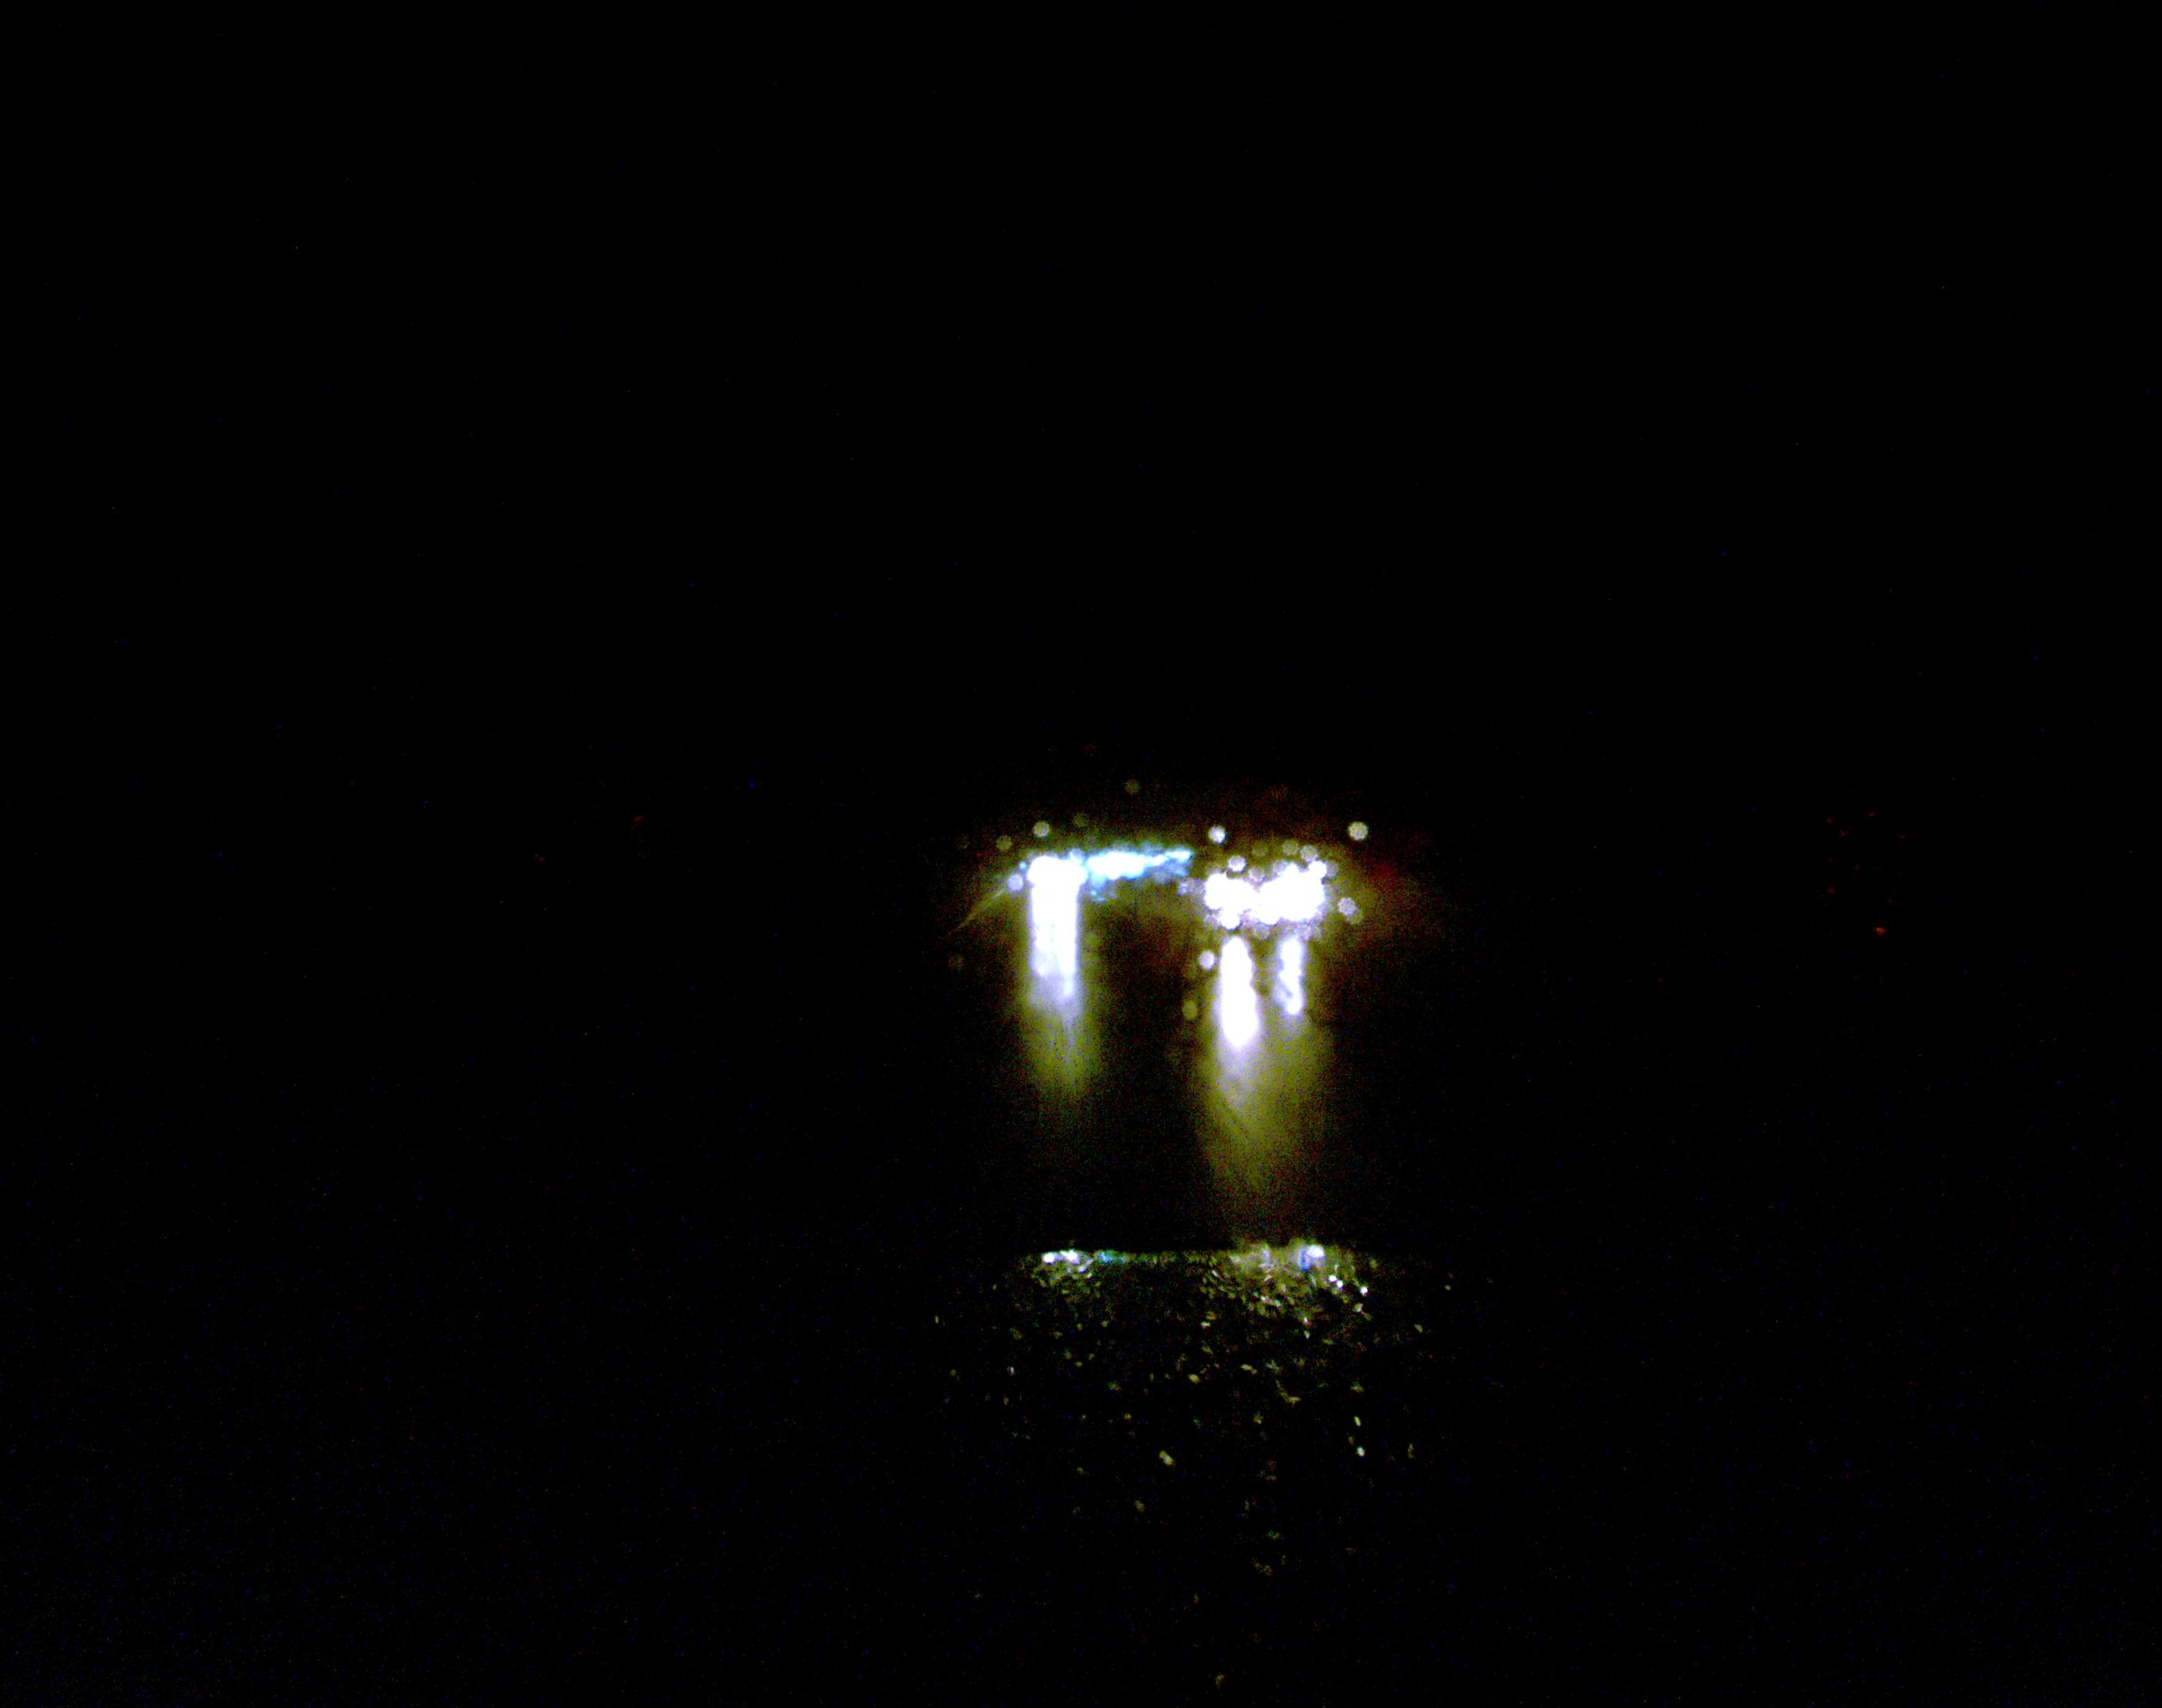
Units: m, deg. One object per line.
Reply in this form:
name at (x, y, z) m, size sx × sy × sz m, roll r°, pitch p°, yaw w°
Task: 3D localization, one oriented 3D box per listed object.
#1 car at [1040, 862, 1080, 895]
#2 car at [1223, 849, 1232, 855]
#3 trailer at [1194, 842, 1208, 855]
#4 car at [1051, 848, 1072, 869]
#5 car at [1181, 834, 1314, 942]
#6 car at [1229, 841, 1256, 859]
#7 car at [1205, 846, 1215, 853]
car at (-1.098, 1.319, 41.699) m, size 1.892 × 1.603 × 4.000 m, roll 0°, pitch 1°, yaw 3°
car at (39.568, -0.504, 205.120) m, size 1.835 × 1.703 × 4.000 m, roll 0°, pitch 1°, yaw 3°
trailer at (31.066, -1.484, 197.066) m, size 2.615 × 3.453 × 10.447 m, roll 0°, pitch 1°, yaw 3°
car at (-1.844, 0.409, 72.712) m, size 1.999 × 2.002 × 3.999 m, roll -1°, pitch 1°, yaw -1°
car at (3.539, 0.650, 17.035) m, size 1.754 × 2.093 × 4.461 m, roll 1°, pitch 0°, yaw -3°
car at (18.460, -0.494, 87.001) m, size 1.999 × 2.002 × 4.808 m, roll 0°, pitch 1°, yaw -2°
car at (27.117, -1.024, 160.003) m, size 1.607 × 1.335 × 3.242 m, roll -2°, pitch 2°, yaw 2°
